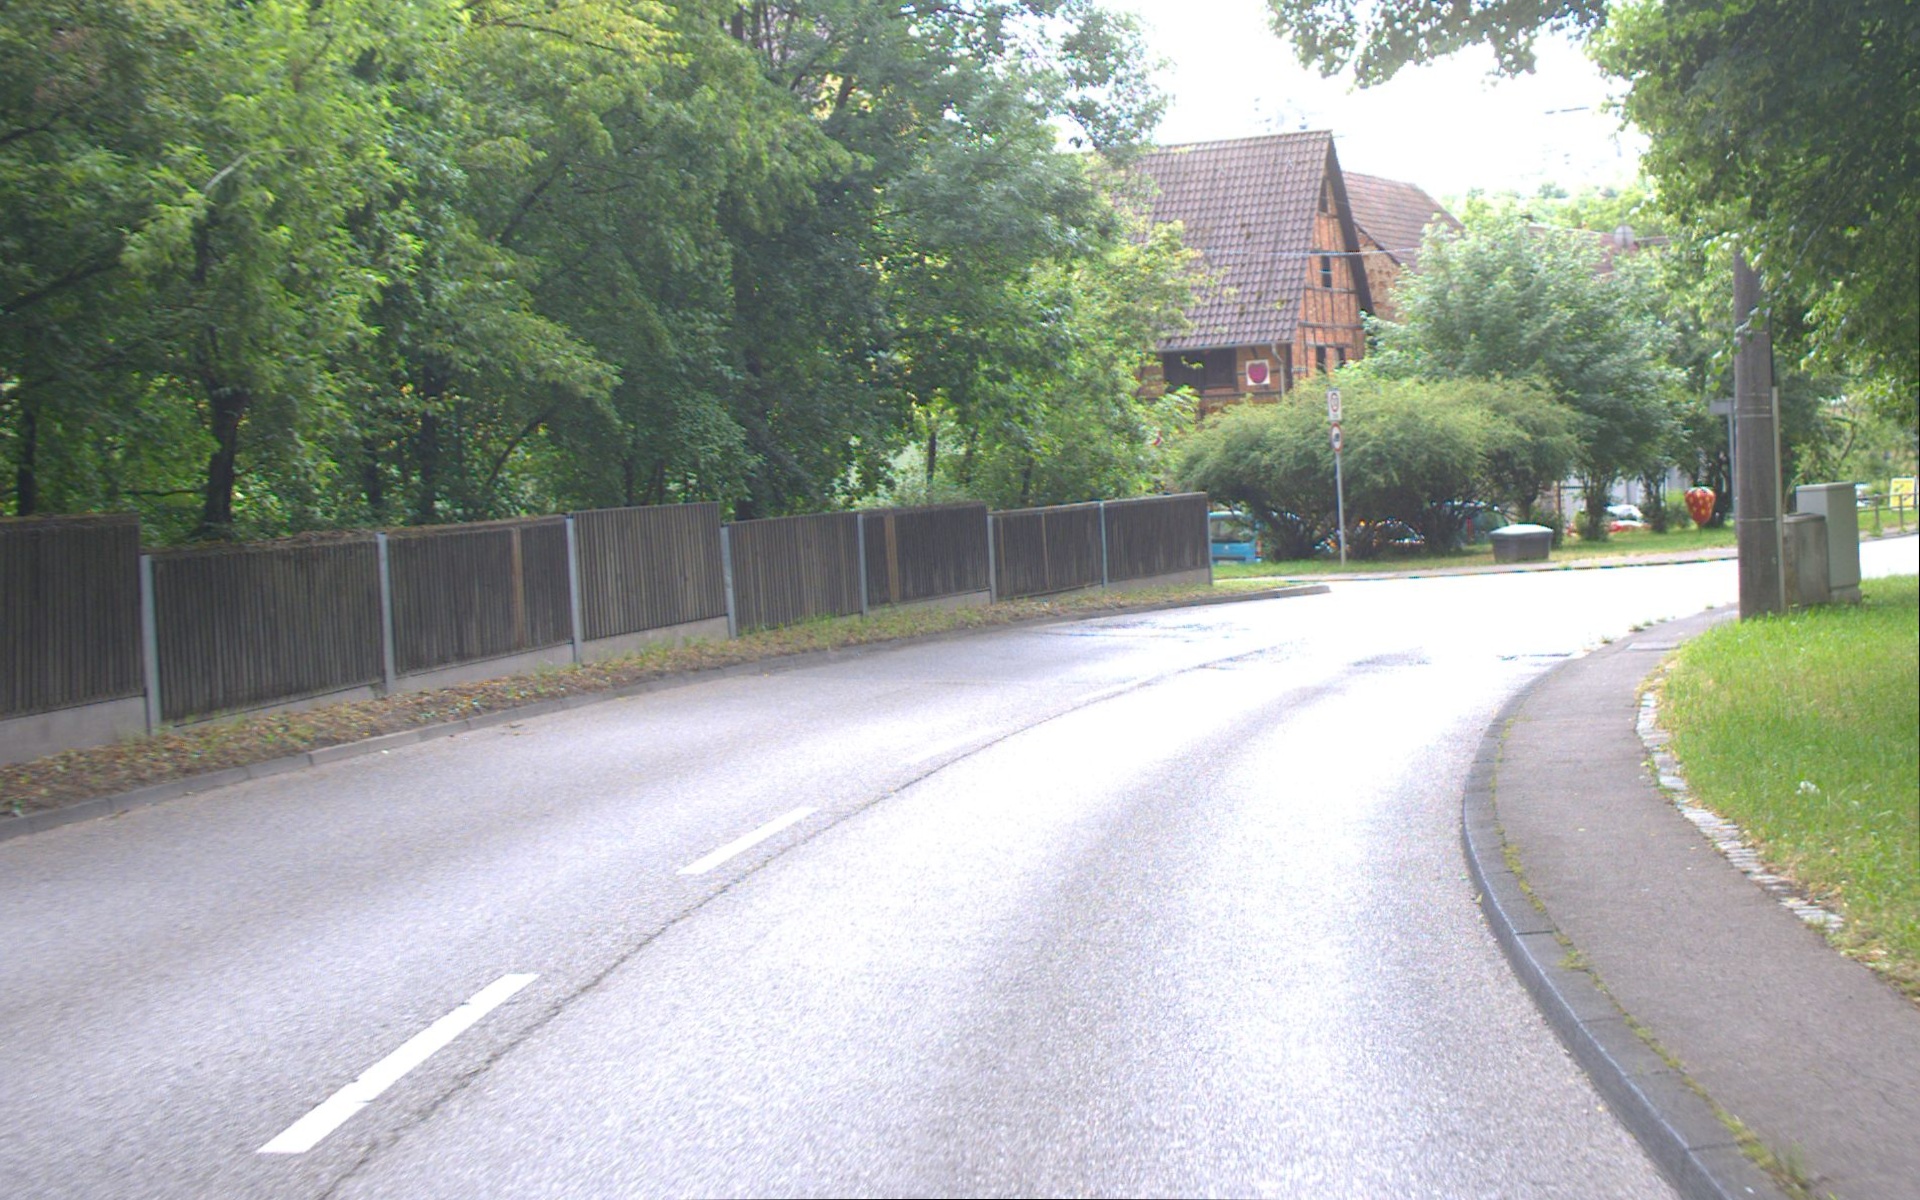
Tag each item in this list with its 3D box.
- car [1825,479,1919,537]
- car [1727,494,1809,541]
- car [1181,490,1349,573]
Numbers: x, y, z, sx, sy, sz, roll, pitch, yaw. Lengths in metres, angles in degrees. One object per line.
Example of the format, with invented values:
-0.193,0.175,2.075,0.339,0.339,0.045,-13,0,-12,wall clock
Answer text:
29.759,-3.004,111.560,1.924,1.689,3.993,-3,1,34,car
24.614,-2.506,104.736,1.555,1.273,2.549,-3,1,34,car
6.892,-1.562,77.302,1.997,1.612,4.441,-4,1,30,car
